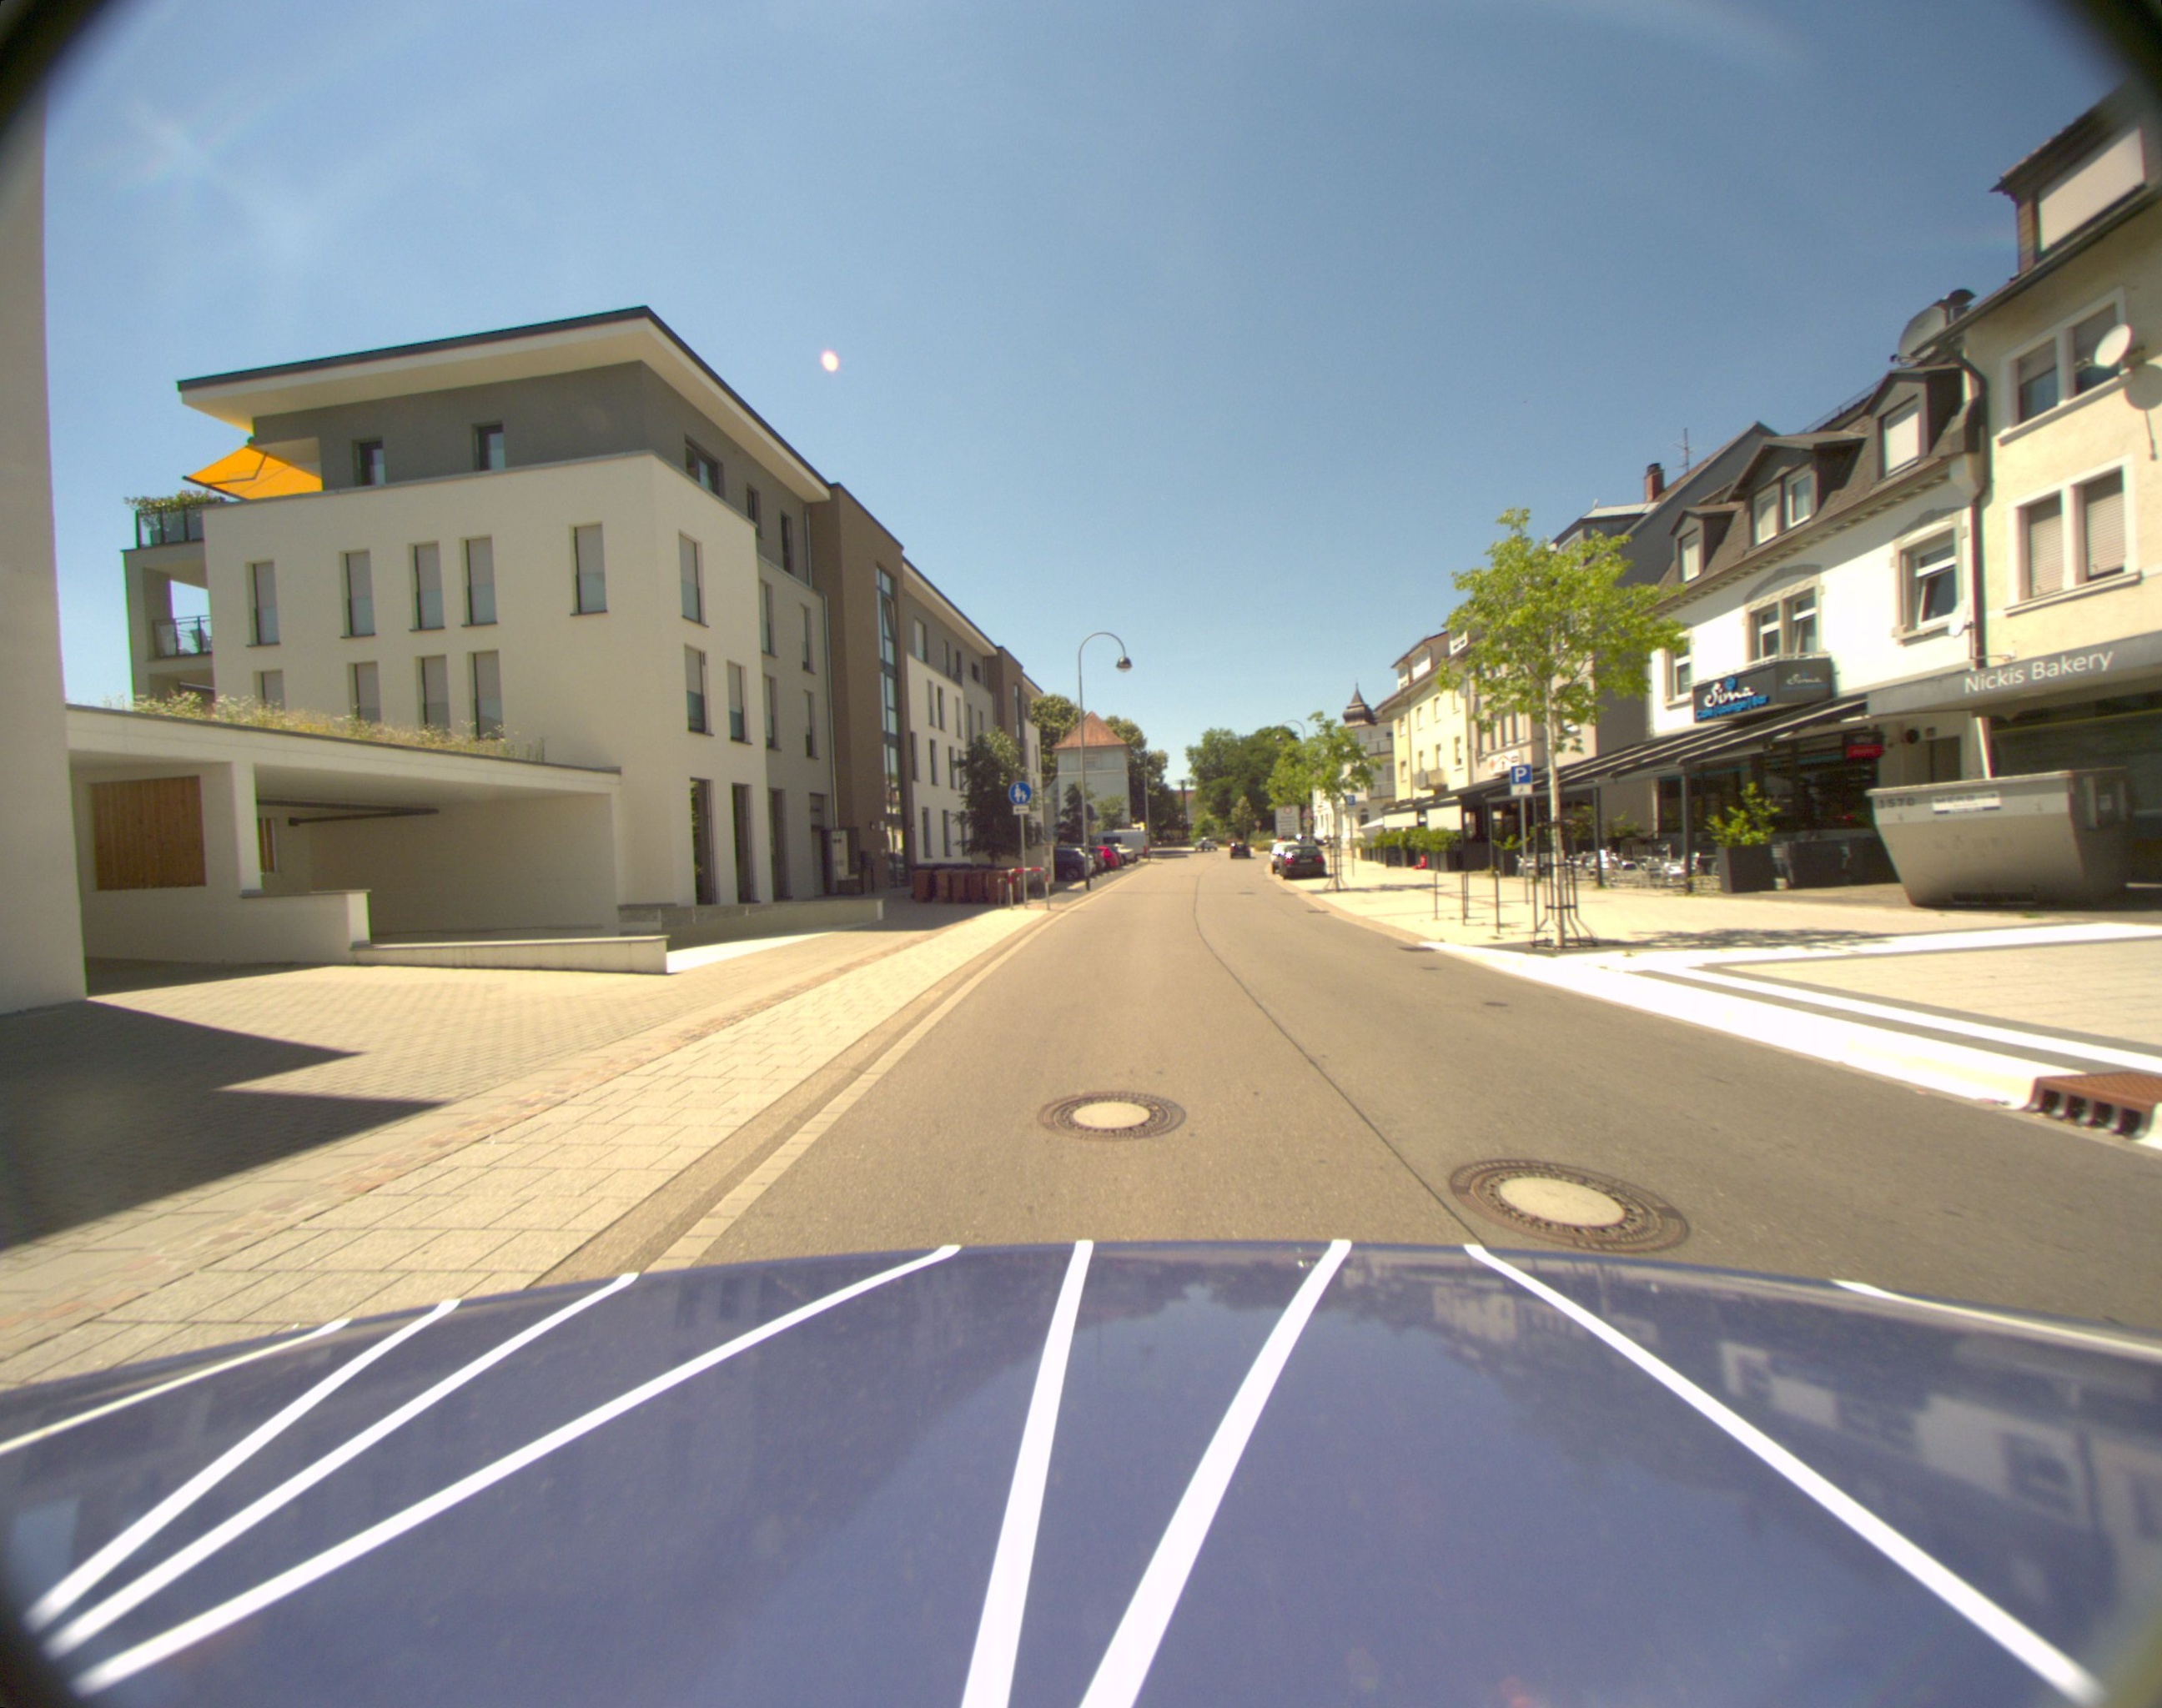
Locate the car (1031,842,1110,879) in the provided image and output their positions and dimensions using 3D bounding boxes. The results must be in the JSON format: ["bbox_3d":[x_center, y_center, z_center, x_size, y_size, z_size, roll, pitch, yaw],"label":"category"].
[{"bbox_3d":[-0.530,0.327,39.317,3.816,1.776,1.841,-2,1,7],"label":"car"}]

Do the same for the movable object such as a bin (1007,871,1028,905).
[{"bbox_3d":[-1.830,0.980,21.932,0.474,0.925,0.528,-1,2,9],"label":"movable object such as a bin"}]

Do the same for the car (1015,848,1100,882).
[{"bbox_3d":[-1.078,0.532,36.501,3.816,1.474,1.779,-2,1,7],"label":"car"}]

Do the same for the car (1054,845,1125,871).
[{"bbox_3d":[0.580,0.248,48.902,4.356,1.542,1.652,-2,1,6],"label":"car"}]

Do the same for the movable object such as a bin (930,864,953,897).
[{"bbox_3d":[-4.595,0.855,25.005,0.648,1.054,0.625,0,2,-3],"label":"movable object such as a bin"}]

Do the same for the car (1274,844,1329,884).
[{"bbox_3d":[9.417,0.391,32.751,1.757,1.437,4.452,-5,0,11],"label":"car"}]

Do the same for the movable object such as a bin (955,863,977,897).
[{"bbox_3d":[-3.746,0.840,24.852,0.648,1.054,0.625,0,2,-3],"label":"movable object such as a bin"}]

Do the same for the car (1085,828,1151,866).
[{"bbox_3d":[2.915,-0.560,58.813,4.864,2.720,1.852,-2,1,9],"label":"car"}]

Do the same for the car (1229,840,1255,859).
[{"bbox_3d":[13.107,-0.372,61.696,1.618,1.445,3.868,0,1,18],"label":"car"}]

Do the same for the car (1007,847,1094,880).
[{"bbox_3d":[-1.363,0.427,34.372,3.663,1.437,1.536,0,2,10],"label":"car"}]

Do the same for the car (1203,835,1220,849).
[{"bbox_3d":[14.683,-1.363,85.405,1.683,1.475,4.089,-1,2,13],"label":"car"}]

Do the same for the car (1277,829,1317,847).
[{"bbox_3d":[23.475,-1.735,82.755,4.075,1.729,1.816,-2,1,14],"label":"car"}]

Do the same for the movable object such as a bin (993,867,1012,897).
[{"bbox_3d":[-2.545,0.901,24.681,0.513,0.926,0.465,0,2,3],"label":"movable object such as a bin"}]

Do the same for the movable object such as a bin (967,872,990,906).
[{"bbox_3d":[-2.896,0.993,21.490,0.474,0.925,0.528,-1,2,9],"label":"movable object such as a bin"}]

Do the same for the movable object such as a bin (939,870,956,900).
[{"bbox_3d":[-4.134,0.956,23.581,0.483,0.918,0.437,-1,2,-14],"label":"movable object such as a bin"}]

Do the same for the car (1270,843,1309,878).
[{"bbox_3d":[10.339,0.287,37.929,1.683,1.475,3.771,-4,1,14],"label":"car"}]

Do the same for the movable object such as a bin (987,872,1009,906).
[{"bbox_3d":[-2.336,0.995,21.438,0.474,0.925,0.528,-1,2,9],"label":"movable object such as a bin"}]

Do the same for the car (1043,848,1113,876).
[{"bbox_3d":[-0.138,0.440,41.800,3.614,1.454,1.617,-1,1,7],"label":"car"}]

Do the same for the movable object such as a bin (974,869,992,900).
[{"bbox_3d":[-3.030,0.939,23.480,0.517,0.918,0.437,-1,2,-14],"label":"movable object such as a bin"}]

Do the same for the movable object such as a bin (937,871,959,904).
[{"bbox_3d":[-3.893,0.964,22.214,0.466,0.925,0.522,-1,2,9],"label":"movable object such as a bin"}]

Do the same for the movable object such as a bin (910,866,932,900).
[{"bbox_3d":[-4.919,0.884,23.357,0.570,1.036,0.560,-1,2,-5],"label":"movable object such as a bin"}]

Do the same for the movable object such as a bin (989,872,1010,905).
[{"bbox_3d":[-2.347,0.983,21.993,0.468,0.925,0.528,-1,2,9],"label":"movable object such as a bin"}]

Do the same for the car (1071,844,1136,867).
[{"bbox_3d":[1.616,0.125,54.150,4.378,1.520,1.720,-1,1,9],"label":"car"}]

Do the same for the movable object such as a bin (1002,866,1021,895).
[{"bbox_3d":[-2.313,0.881,25.272,0.562,0.926,0.465,0,2,3],"label":"movable object such as a bin"}]

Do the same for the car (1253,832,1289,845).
[{"bbox_3d":[23.143,-1.880,92.671,3.944,1.528,1.832,-2,1,-26],"label":"car"}]

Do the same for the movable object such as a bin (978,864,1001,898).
[{"bbox_3d":[-2.914,0.860,24.194,0.570,1.054,0.560,0,2,10],"label":"movable object such as a bin"}]

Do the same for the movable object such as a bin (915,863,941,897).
[{"bbox_3d":[-4.894,0.841,24.328,0.647,1.054,0.625,0,2,10],"label":"movable object such as a bin"}]

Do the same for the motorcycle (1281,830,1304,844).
[{"bbox_3d":[22.438,-1.800,80.664,2.321,1.317,0.726,-2,1,11],"label":"motorcycle"}]

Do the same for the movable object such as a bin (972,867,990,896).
[{"bbox_3d":[-3.260,0.902,24.867,0.485,0.926,0.467,0,2,3],"label":"movable object such as a bin"}]

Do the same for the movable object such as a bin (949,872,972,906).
[{"bbox_3d":[-3.417,0.989,21.565,0.474,0.925,0.528,-1,2,9],"label":"movable object such as a bin"}]

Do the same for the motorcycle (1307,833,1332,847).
[{"bbox_3d":[24.272,-1.430,77.252,2.321,1.317,0.726,-2,1,11],"label":"motorcycle"}]

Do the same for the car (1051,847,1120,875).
[{"bbox_3d":[0.299,0.395,44.286,3.815,1.454,1.652,-2,1,8],"label":"car"}]

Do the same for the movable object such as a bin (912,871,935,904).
[{"bbox_3d":[-4.529,0.970,21.899,0.474,0.925,0.528,-1,2,9],"label":"movable object such as a bin"}]

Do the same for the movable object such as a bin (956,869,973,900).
[{"bbox_3d":[-3.610,0.945,23.592,0.483,0.918,0.437,-1,2,-14],"label":"movable object such as a bin"}]

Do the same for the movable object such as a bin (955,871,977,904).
[{"bbox_3d":[-3.343,0.970,22.139,0.466,0.925,0.522,-1,2,9],"label":"movable object such as a bin"}]

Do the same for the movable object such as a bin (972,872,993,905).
[{"bbox_3d":[-2.846,0.983,22.055,0.466,0.925,0.522,-1,2,9],"label":"movable object such as a bin"}]

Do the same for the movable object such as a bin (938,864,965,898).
[{"bbox_3d":[-4.127,0.863,24.247,0.647,1.054,0.625,0,2,10],"label":"movable object such as a bin"}]

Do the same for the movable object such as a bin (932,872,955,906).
[{"bbox_3d":[-3.911,0.989,21.645,0.474,0.925,0.528,-1,2,9],"label":"movable object such as a bin"}]
